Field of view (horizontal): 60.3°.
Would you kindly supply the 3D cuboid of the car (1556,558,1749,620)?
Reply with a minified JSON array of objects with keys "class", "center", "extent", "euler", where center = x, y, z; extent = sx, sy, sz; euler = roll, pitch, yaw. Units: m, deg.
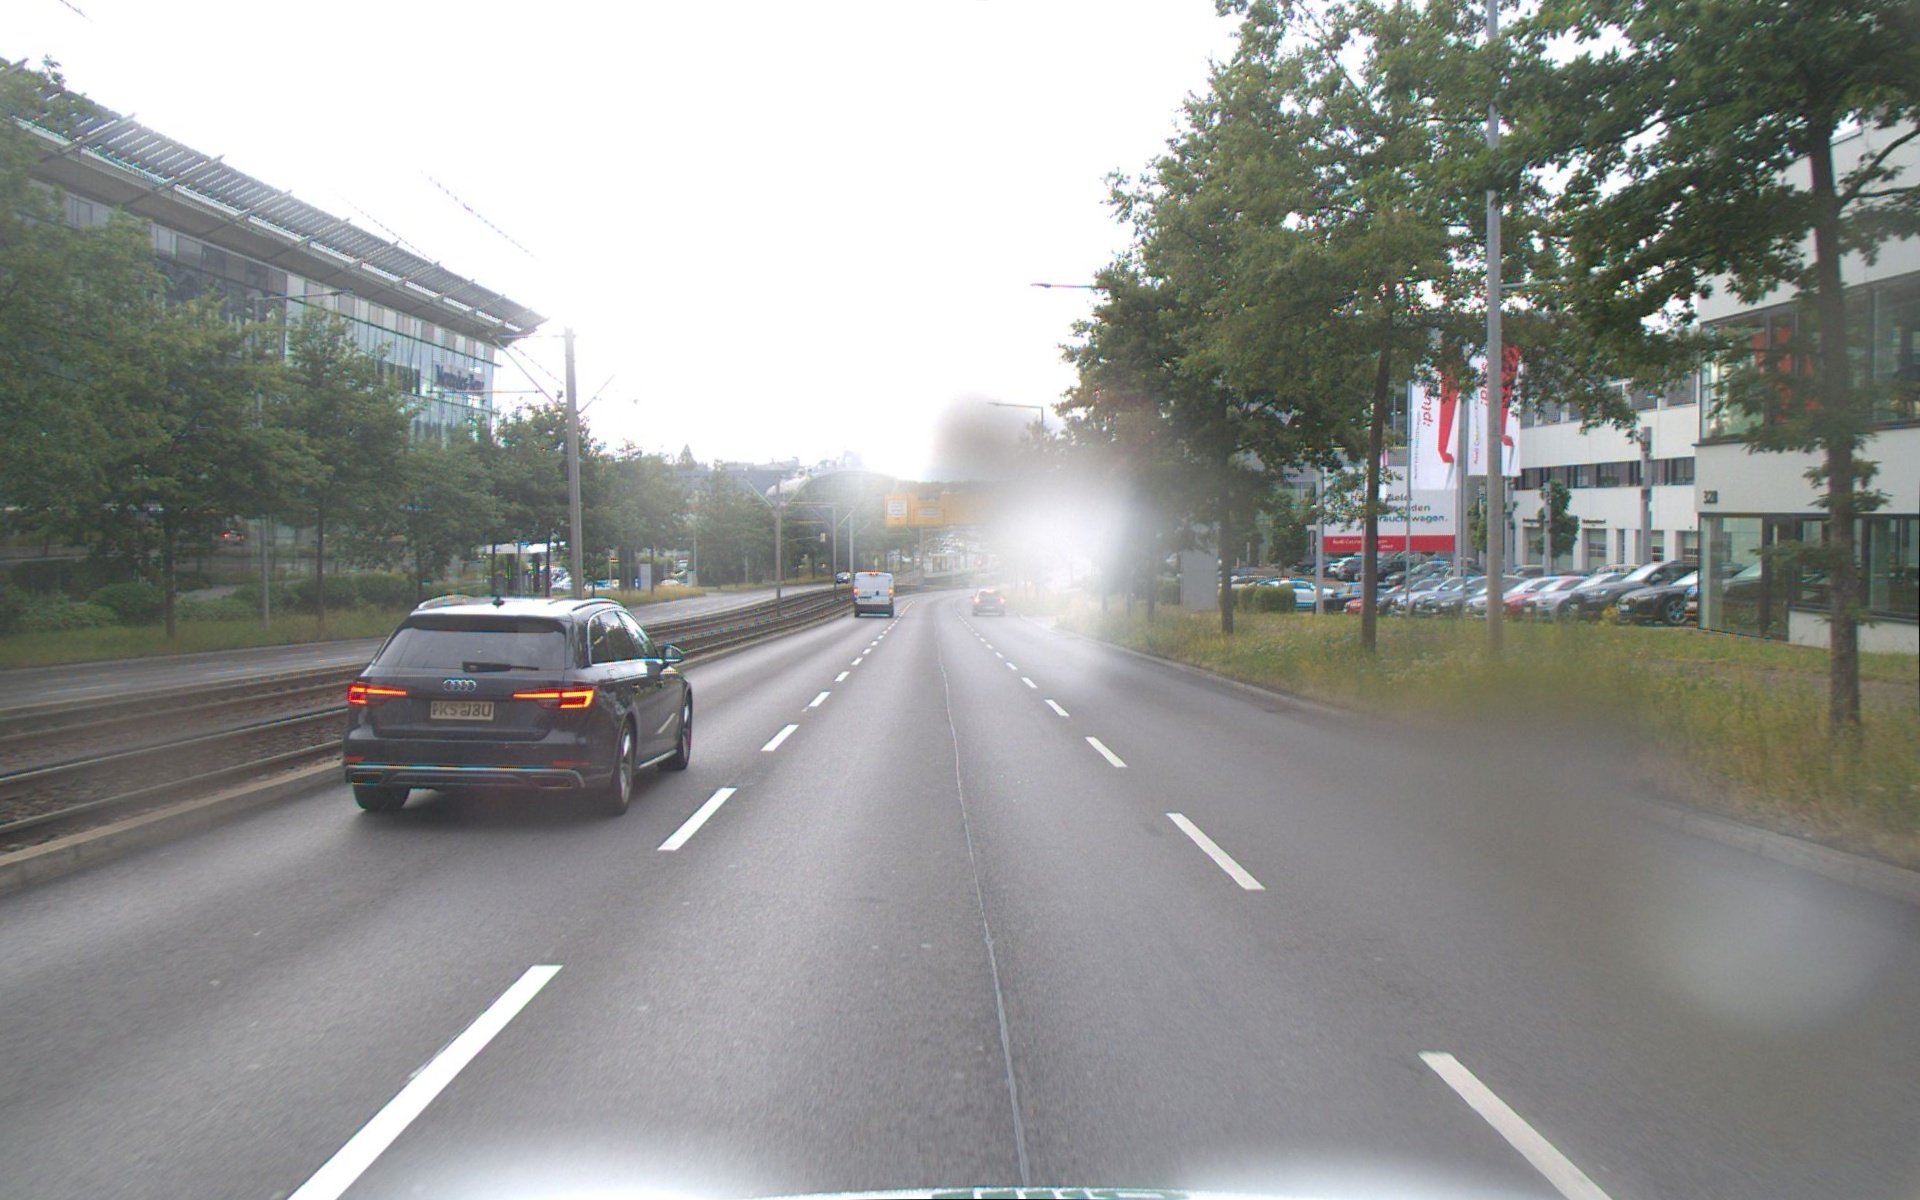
[{"class":"car","center":[18.536,-0.275,44.420],"extent":[4.308,1.527,2.039],"euler":[-1,0,-2]}]

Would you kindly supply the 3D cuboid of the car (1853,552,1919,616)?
[{"class":"car","center":[25.163,-0.430,41.828],"extent":[4.192,1.578,1.825],"euler":[-1,0,-4]}]

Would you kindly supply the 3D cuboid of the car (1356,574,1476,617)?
[{"class":"car","center":[17.898,-0.188,65.067],"extent":[4.192,1.621,1.825],"euler":[-1,0,-4]}]

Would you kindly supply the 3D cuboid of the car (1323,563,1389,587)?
[{"class":"car","center":[26.933,-1.710,112.559],"extent":[4.023,1.601,1.692],"euler":[1,1,-2]}]

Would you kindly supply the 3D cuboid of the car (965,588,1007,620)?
[{"class":"car","center":[1.422,0.207,91.122],"extent":[1.981,1.651,3.997],"euler":[1,0,-3]}]

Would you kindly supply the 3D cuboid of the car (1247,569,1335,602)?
[{"class":"car","center":[16.943,-0.745,84.751],"extent":[4.030,1.622,1.944],"euler":[0,-1,-10]}]

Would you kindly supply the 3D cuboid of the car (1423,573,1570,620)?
[{"class":"car","center":[18.285,-0.115,56.495],"extent":[4.371,1.481,1.930],"euler":[-2,0,-2]}]

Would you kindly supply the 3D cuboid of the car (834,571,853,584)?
[{"class":"car","center":[-14.558,-2.820,207.353],"extent":[1.844,1.547,4.404],"euler":[-3,1,1]}]

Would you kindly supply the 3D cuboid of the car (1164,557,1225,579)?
[{"class":"car","center":[16.937,-2.315,119.509],"extent":[4.173,1.601,1.692],"euler":[1,1,-2]}]

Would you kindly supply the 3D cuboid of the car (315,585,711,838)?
[{"class":"car","center":[-3.044,0.653,12.291],"extent":[1.728,1.489,4.626],"euler":[1,0,-1]}]

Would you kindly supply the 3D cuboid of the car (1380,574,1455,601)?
[{"class":"car","center":[27.621,-0.772,99.936],"extent":[4.023,1.601,1.692],"euler":[0,0,-2]}]

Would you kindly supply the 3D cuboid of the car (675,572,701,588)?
[{"class":"car","center":[-30.103,-2.232,183.012],"extent":[1.952,1.679,4.002],"euler":[1,0,4]}]

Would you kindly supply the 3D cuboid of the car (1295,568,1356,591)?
[{"class":"car","center":[26.545,-1.465,120.119],"extent":[4.023,1.601,1.692],"euler":[1,1,-2]}]

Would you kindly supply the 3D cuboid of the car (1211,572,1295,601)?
[{"class":"car","center":[16.716,-0.747,94.498],"extent":[4.429,1.622,1.692],"euler":[0,0,-2]}]

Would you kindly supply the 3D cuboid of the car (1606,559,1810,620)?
[{"class":"car","center":[18.514,-0.252,41.032],"extent":[4.234,1.402,1.835],"euler":[-1,0,-4]}]

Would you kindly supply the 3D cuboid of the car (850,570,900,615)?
[{"class":"car","center":[-4.459,-0.379,86.369],"extent":[2.461,2.215,5.146],"euler":[1,0,-3]}]

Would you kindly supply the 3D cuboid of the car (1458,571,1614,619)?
[{"class":"car","center":[18.572,-0.149,53.471],"extent":[4.371,1.481,1.930],"euler":[-1,0,-2]}]

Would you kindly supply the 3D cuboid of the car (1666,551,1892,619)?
[{"class":"car","center":[18.998,-0.333,38.481],"extent":[4.309,1.507,1.930],"euler":[-1,0,-2]}]

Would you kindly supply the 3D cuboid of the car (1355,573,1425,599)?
[{"class":"car","center":[27.201,-0.881,104.662],"extent":[4.023,1.601,1.692],"euler":[0,2,-3]}]

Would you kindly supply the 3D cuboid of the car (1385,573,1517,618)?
[{"class":"car","center":[18.443,-0.171,62.283],"extent":[4.371,1.578,1.930],"euler":[-1,0,-2]}]

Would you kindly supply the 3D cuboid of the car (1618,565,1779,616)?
[{"class":"car","center":[23.851,-0.290,53.490],"extent":[4.373,1.578,1.930],"euler":[-1,0,-4]}]

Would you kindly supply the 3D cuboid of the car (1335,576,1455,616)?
[{"class":"car","center":[17.906,-0.169,68.212],"extent":[4.375,1.578,1.928],"euler":[-1,0,-6]}]

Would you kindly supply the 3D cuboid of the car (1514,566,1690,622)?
[{"class":"car","center":[18.345,-0.170,47.379],"extent":[4.308,1.452,1.890],"euler":[-1,0,-2]}]

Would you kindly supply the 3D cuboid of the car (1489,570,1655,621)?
[{"class":"car","center":[18.554,-0.128,50.275],"extent":[4.309,1.372,1.930],"euler":[-2,-1,-2]}]

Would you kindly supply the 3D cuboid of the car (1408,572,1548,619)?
[{"class":"car","center":[18.545,-0.165,59.303],"extent":[4.371,1.555,1.930],"euler":[-1,0,-2]}]

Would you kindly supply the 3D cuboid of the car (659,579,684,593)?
[{"class":"car","center":[-34.563,-1.671,197.948],"extent":[1.969,1.536,3.966],"euler":[1,0,-26]}]

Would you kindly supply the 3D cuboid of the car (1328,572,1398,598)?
[{"class":"car","center":[26.120,-0.970,107.303],"extent":[4.023,1.601,1.825],"euler":[1,1,-2]}]

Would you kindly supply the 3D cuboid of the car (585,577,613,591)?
[{"class":"car","center":[-42.406,-1.849,194.448],"extent":[1.974,1.536,3.956],"euler":[1,0,-32]}]
